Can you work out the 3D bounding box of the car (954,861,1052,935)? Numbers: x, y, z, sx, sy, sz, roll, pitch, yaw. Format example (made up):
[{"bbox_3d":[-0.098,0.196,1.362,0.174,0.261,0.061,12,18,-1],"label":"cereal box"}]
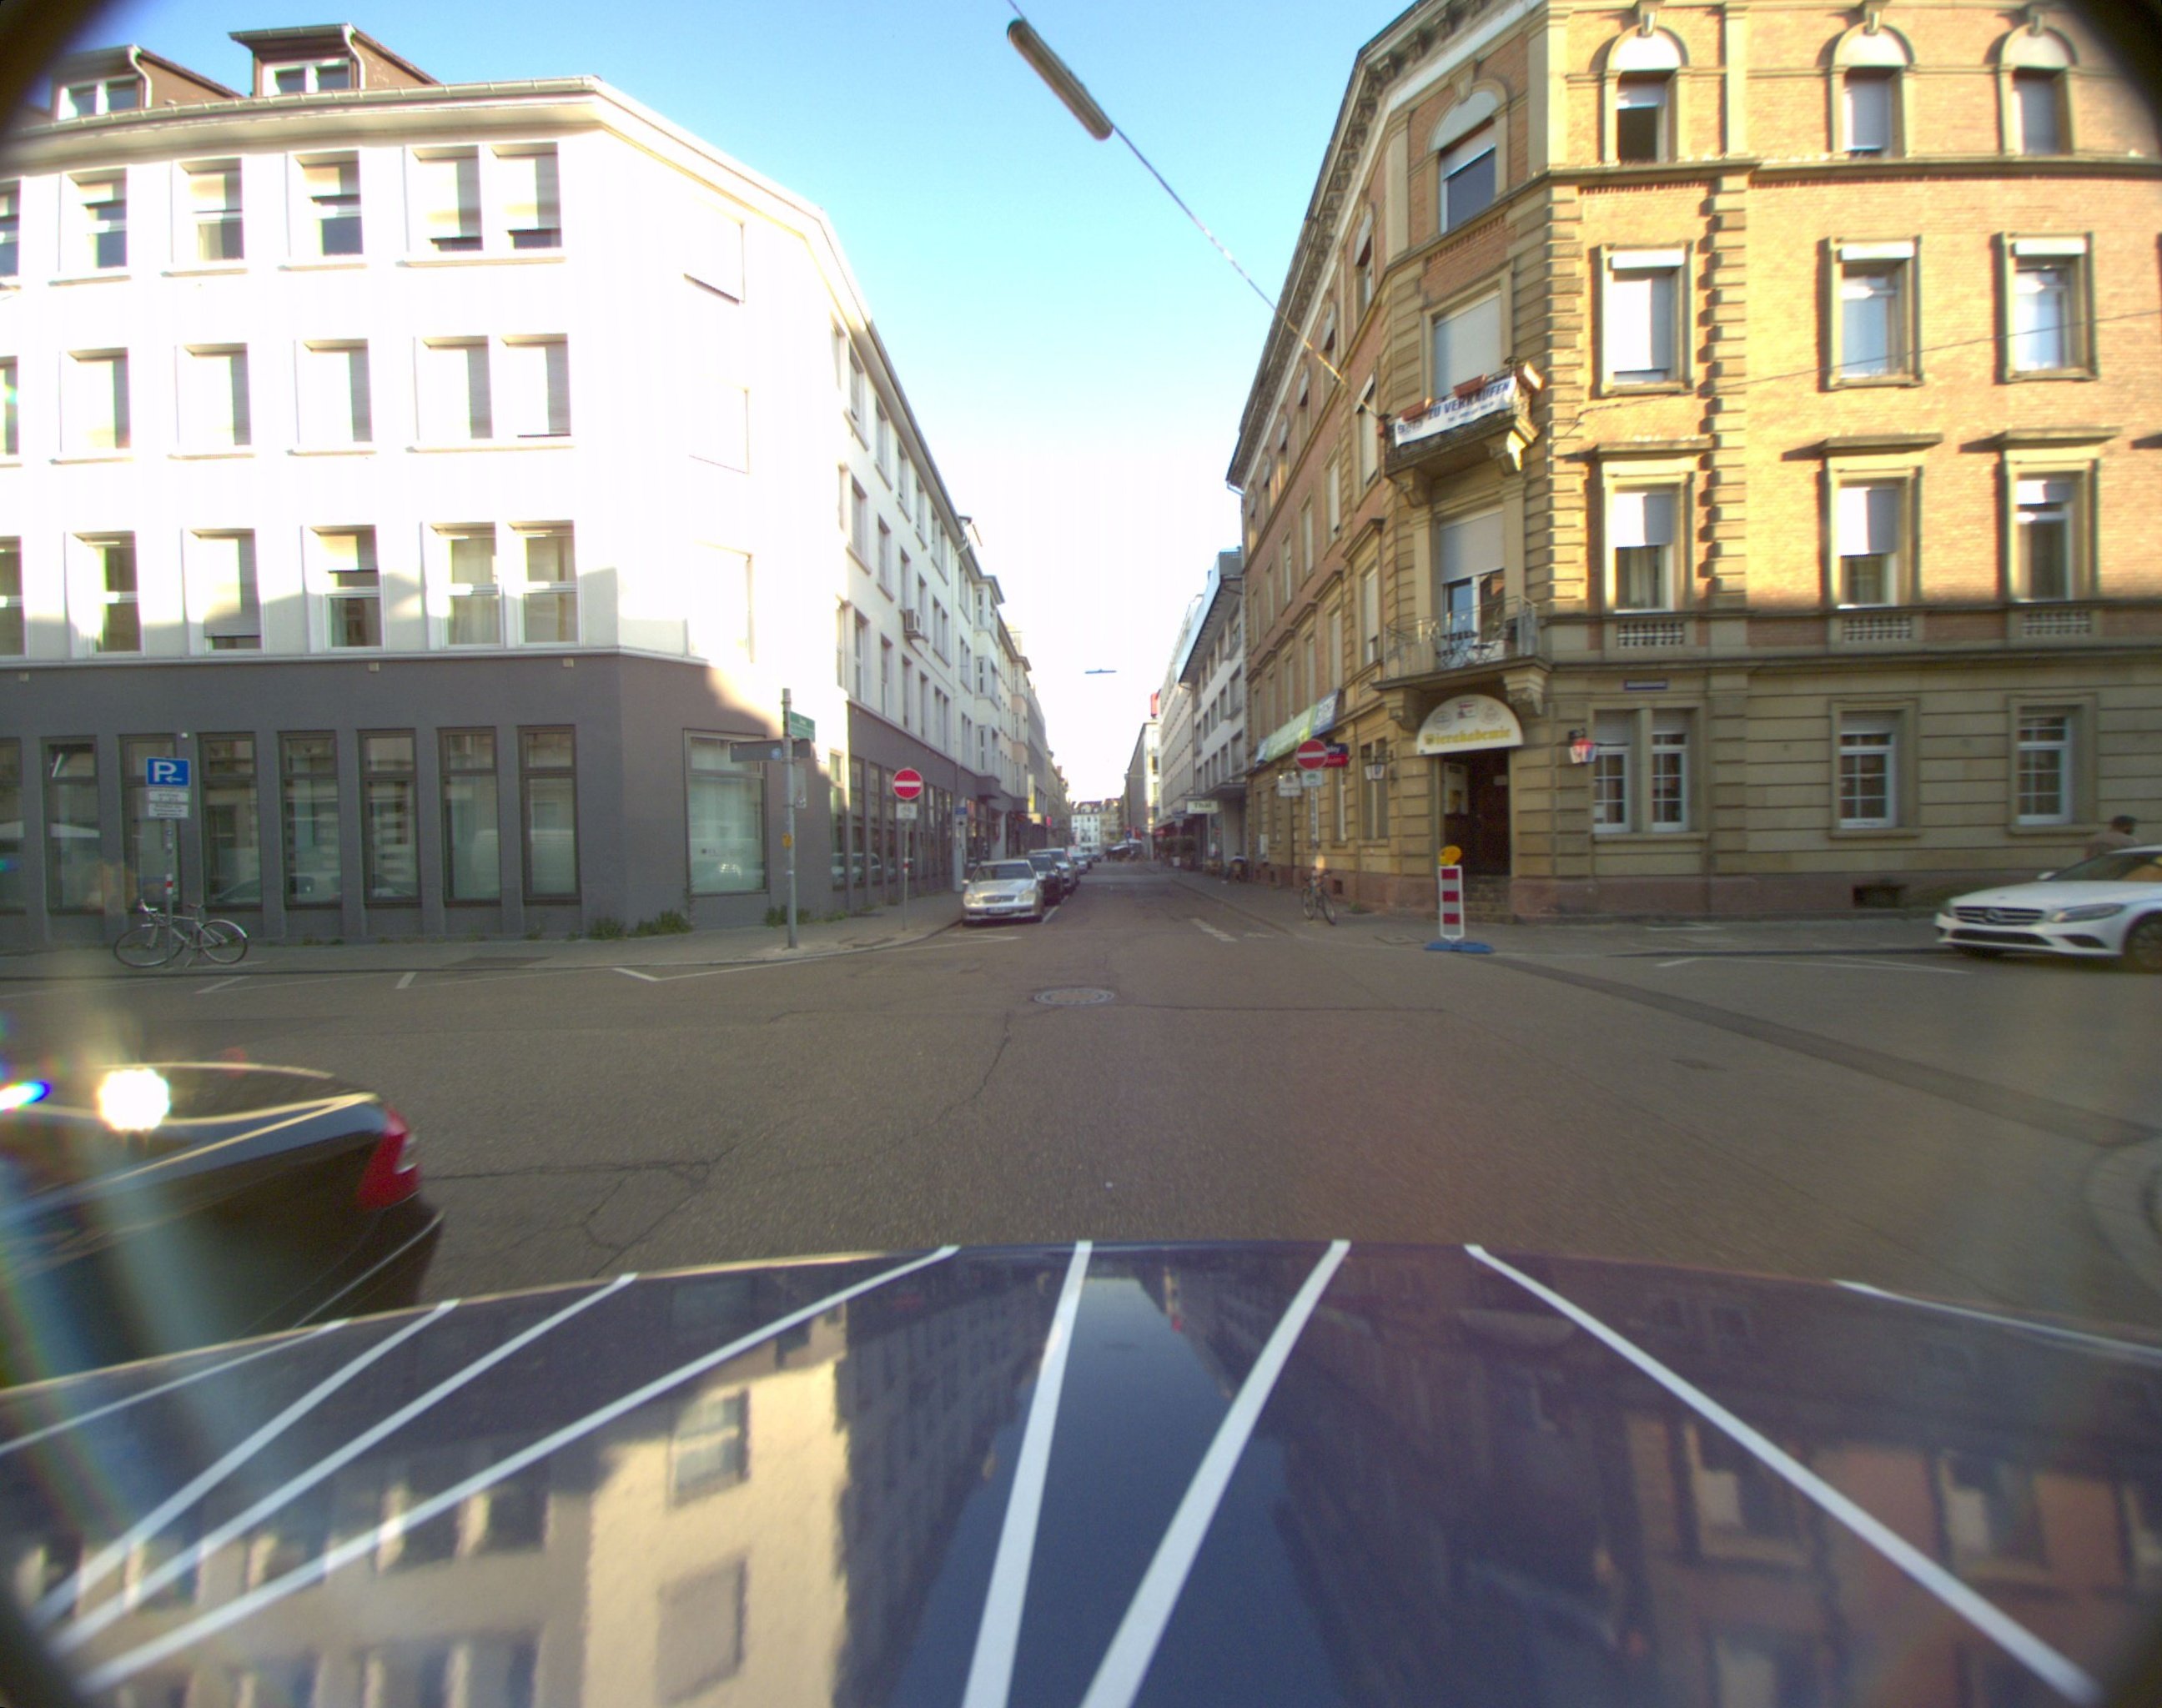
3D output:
[{"bbox_3d":[-1.665,0.912,17.651,1.755,1.393,4.488,-2,0,0],"label":"car"}]

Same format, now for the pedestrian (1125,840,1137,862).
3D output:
[{"bbox_3d":[5.919,-0.391,89.727,1.247,2.599,1.467,-1,1,1],"label":"pedestrian"}]

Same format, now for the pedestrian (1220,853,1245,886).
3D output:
[{"bbox_3d":[6.260,0.651,31.411,0.836,1.332,0.806,-1,1,22],"label":"pedestrian"}]

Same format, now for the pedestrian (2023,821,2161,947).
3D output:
[{"bbox_3d":[14.768,0.406,11.021,1.016,1.732,0.984,-1,1,-5],"label":"pedestrian"}]

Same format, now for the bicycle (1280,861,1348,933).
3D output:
[{"bbox_3d":[4.540,0.803,14.911,0.660,1.268,1.763,-4,1,-2],"label":"bicycle"}]

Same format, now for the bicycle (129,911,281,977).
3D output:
[{"bbox_3d":[-13.333,1.362,11.586,1.642,0.900,0.598,-1,1,2],"label":"bicycle"}]

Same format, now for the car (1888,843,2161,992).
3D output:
[{"bbox_3d":[13.048,0.661,9.177,4.503,1.555,2.000,-1,0,0],"label":"car"}]

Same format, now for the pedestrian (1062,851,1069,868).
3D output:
[{"bbox_3d":[-1.602,0.604,78.532,0.711,1.751,0.885,-1,1,-5],"label":"pedestrian"}]

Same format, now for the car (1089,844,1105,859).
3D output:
[{"bbox_3d":[2.185,-0.344,104.185,1.999,2.002,3.999,-1,1,0],"label":"car"}]

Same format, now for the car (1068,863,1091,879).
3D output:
[{"bbox_3d":[-0.106,1.248,55.292,1.513,1.053,3.467,-1,0,2],"label":"car"}]

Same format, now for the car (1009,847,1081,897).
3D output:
[{"bbox_3d":[-1.271,0.638,28.956,2.335,1.734,4.488,-1,0,2],"label":"car"}]

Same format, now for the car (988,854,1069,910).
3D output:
[{"bbox_3d":[-1.501,0.783,23.215,2.013,1.516,4.118,-1,0,2],"label":"car"}]
